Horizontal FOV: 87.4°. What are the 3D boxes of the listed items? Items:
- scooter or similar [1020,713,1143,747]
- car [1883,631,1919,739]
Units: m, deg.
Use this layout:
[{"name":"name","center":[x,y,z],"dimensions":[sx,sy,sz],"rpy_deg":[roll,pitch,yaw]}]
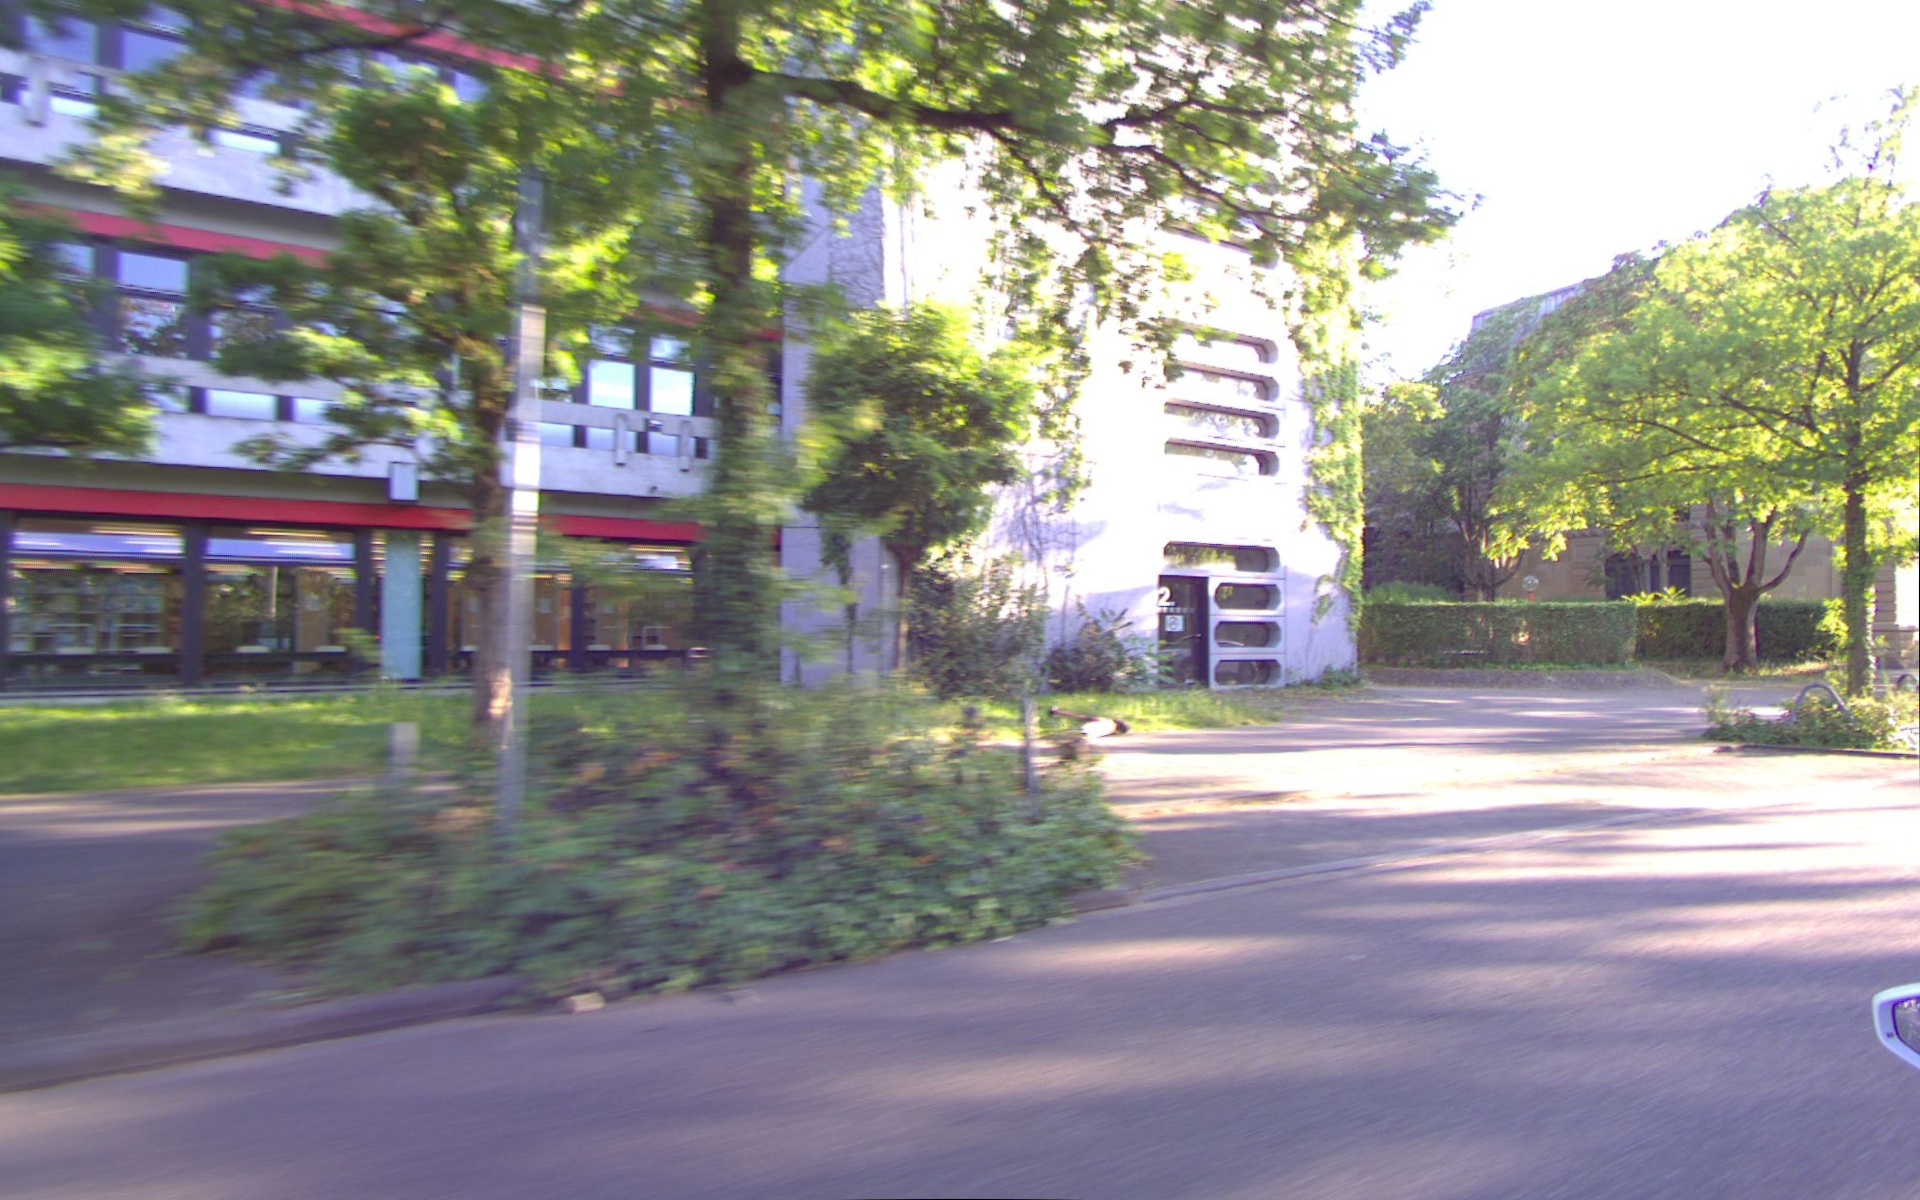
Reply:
[{"name":"scooter or similar","center":[1.645,1.740,13.557],"dimensions":[1.149,0.280,1.243],"rpy_deg":[-1,-2,45]},{"name":"car","center":[16.629,1.314,15.946],"dimensions":[4.099,1.637,1.795],"rpy_deg":[1,-2,-31]}]
